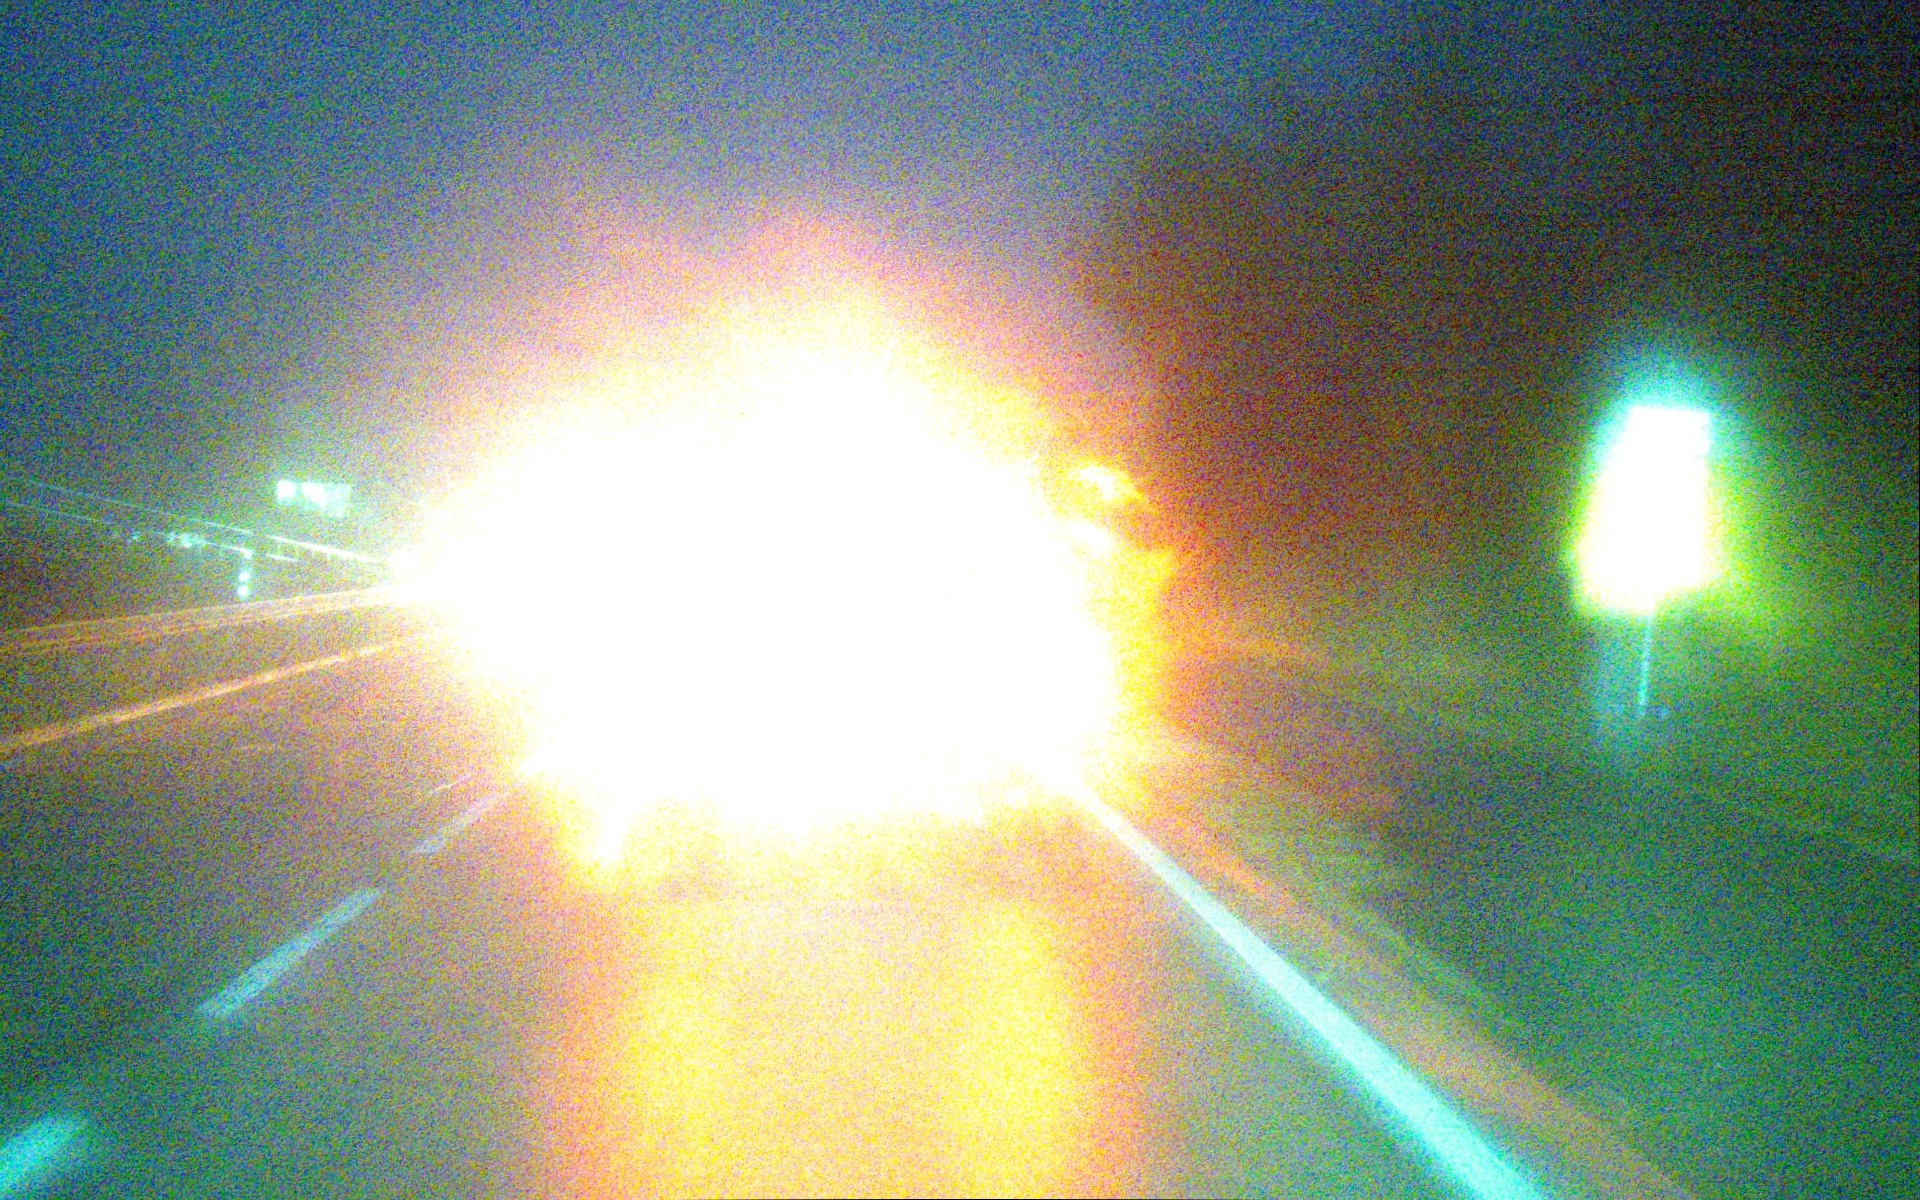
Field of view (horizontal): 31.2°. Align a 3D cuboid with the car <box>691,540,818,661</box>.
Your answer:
[{"bbox_3d":[-3.369,-0.021,57.014,1.993,1.908,4.000,1,1,-2],"label":"car"}]

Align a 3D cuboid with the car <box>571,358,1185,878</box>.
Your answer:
[{"bbox_3d":[-0.506,0.031,18.312,2.715,2.300,6.101,0,1,-3],"label":"car"}]
